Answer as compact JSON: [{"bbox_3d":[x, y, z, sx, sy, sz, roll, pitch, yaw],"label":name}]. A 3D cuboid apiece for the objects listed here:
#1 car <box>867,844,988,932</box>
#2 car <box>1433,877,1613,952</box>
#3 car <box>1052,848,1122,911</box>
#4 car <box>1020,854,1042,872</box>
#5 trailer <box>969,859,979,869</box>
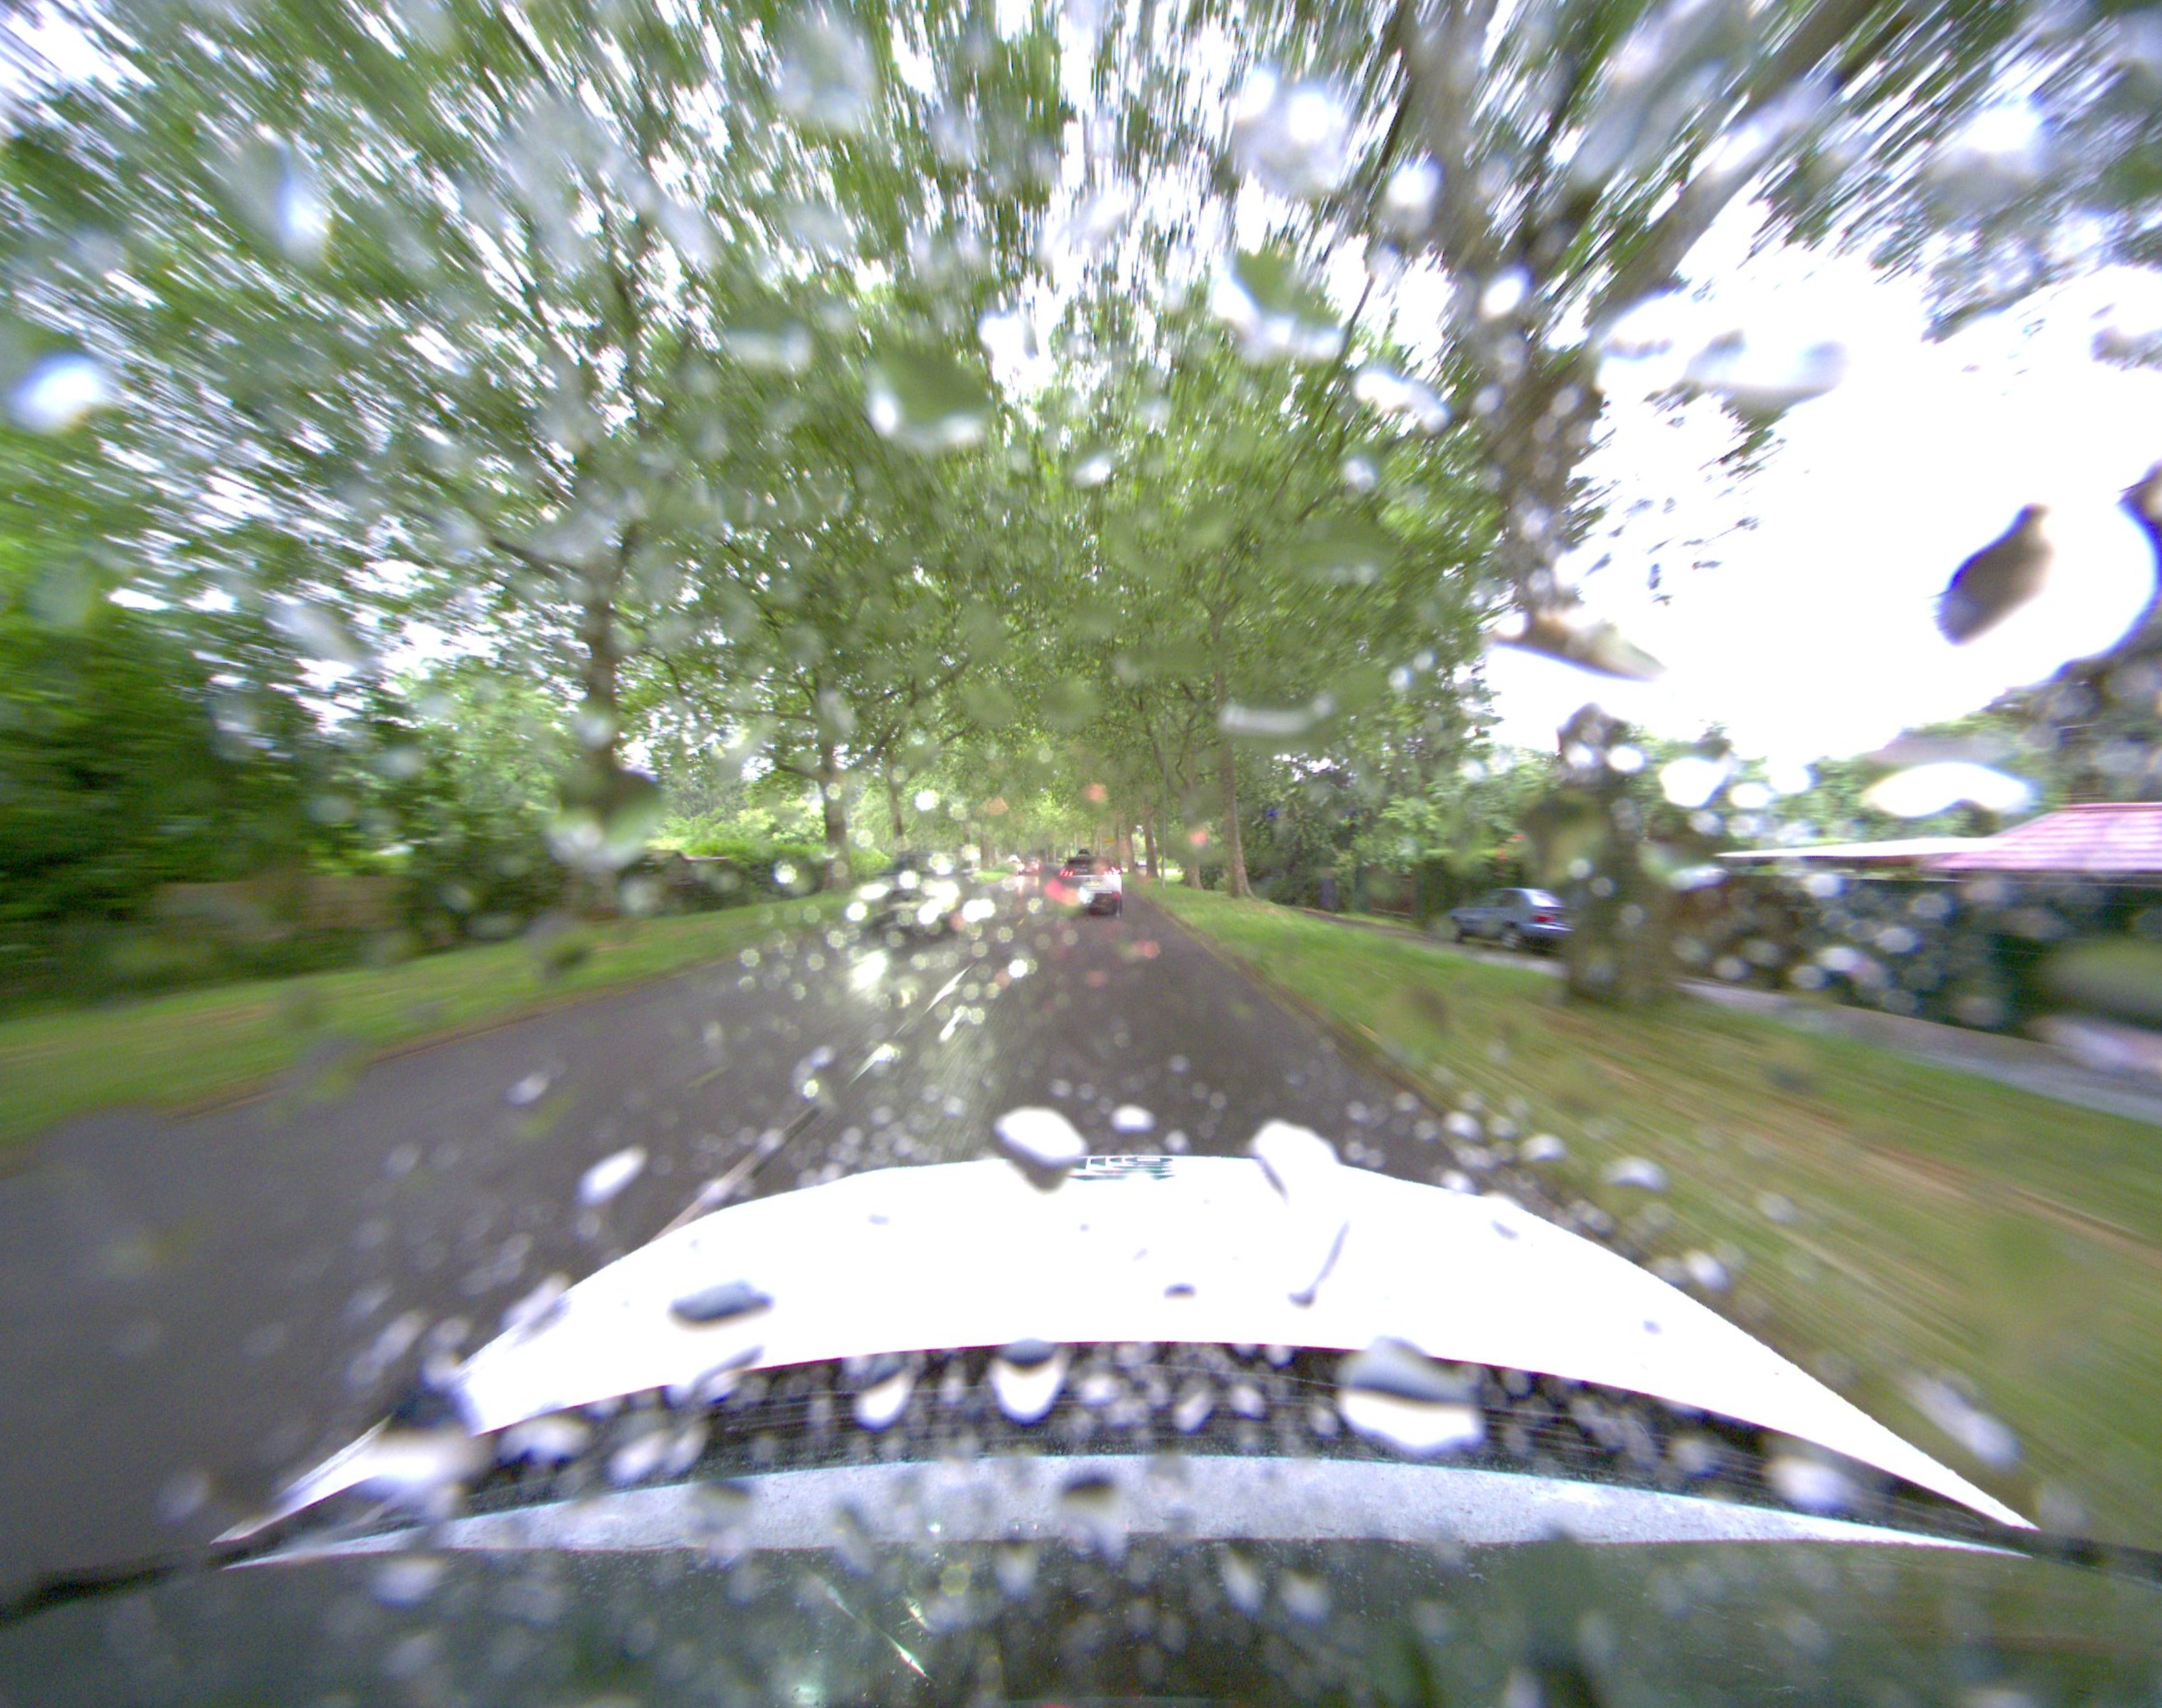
[{"bbox_3d":[-3.276,0.677,18.273,1.802,1.728,4.455,0,0,1],"label":"car"},{"bbox_3d":[10.018,1.311,18.846,1.792,1.325,3.995,4,-1,-3],"label":"car"},{"bbox_3d":[0.166,0.640,22.771,1.788,1.578,3.844,0,0,0],"label":"car"},{"bbox_3d":[-4.328,0.764,70.342,1.841,1.502,3.995,0,0,-3],"label":"car"},{"bbox_3d":[-28.313,2.643,215.287,2.484,2.567,5.316,0,0,-9],"label":"trailer"}]
